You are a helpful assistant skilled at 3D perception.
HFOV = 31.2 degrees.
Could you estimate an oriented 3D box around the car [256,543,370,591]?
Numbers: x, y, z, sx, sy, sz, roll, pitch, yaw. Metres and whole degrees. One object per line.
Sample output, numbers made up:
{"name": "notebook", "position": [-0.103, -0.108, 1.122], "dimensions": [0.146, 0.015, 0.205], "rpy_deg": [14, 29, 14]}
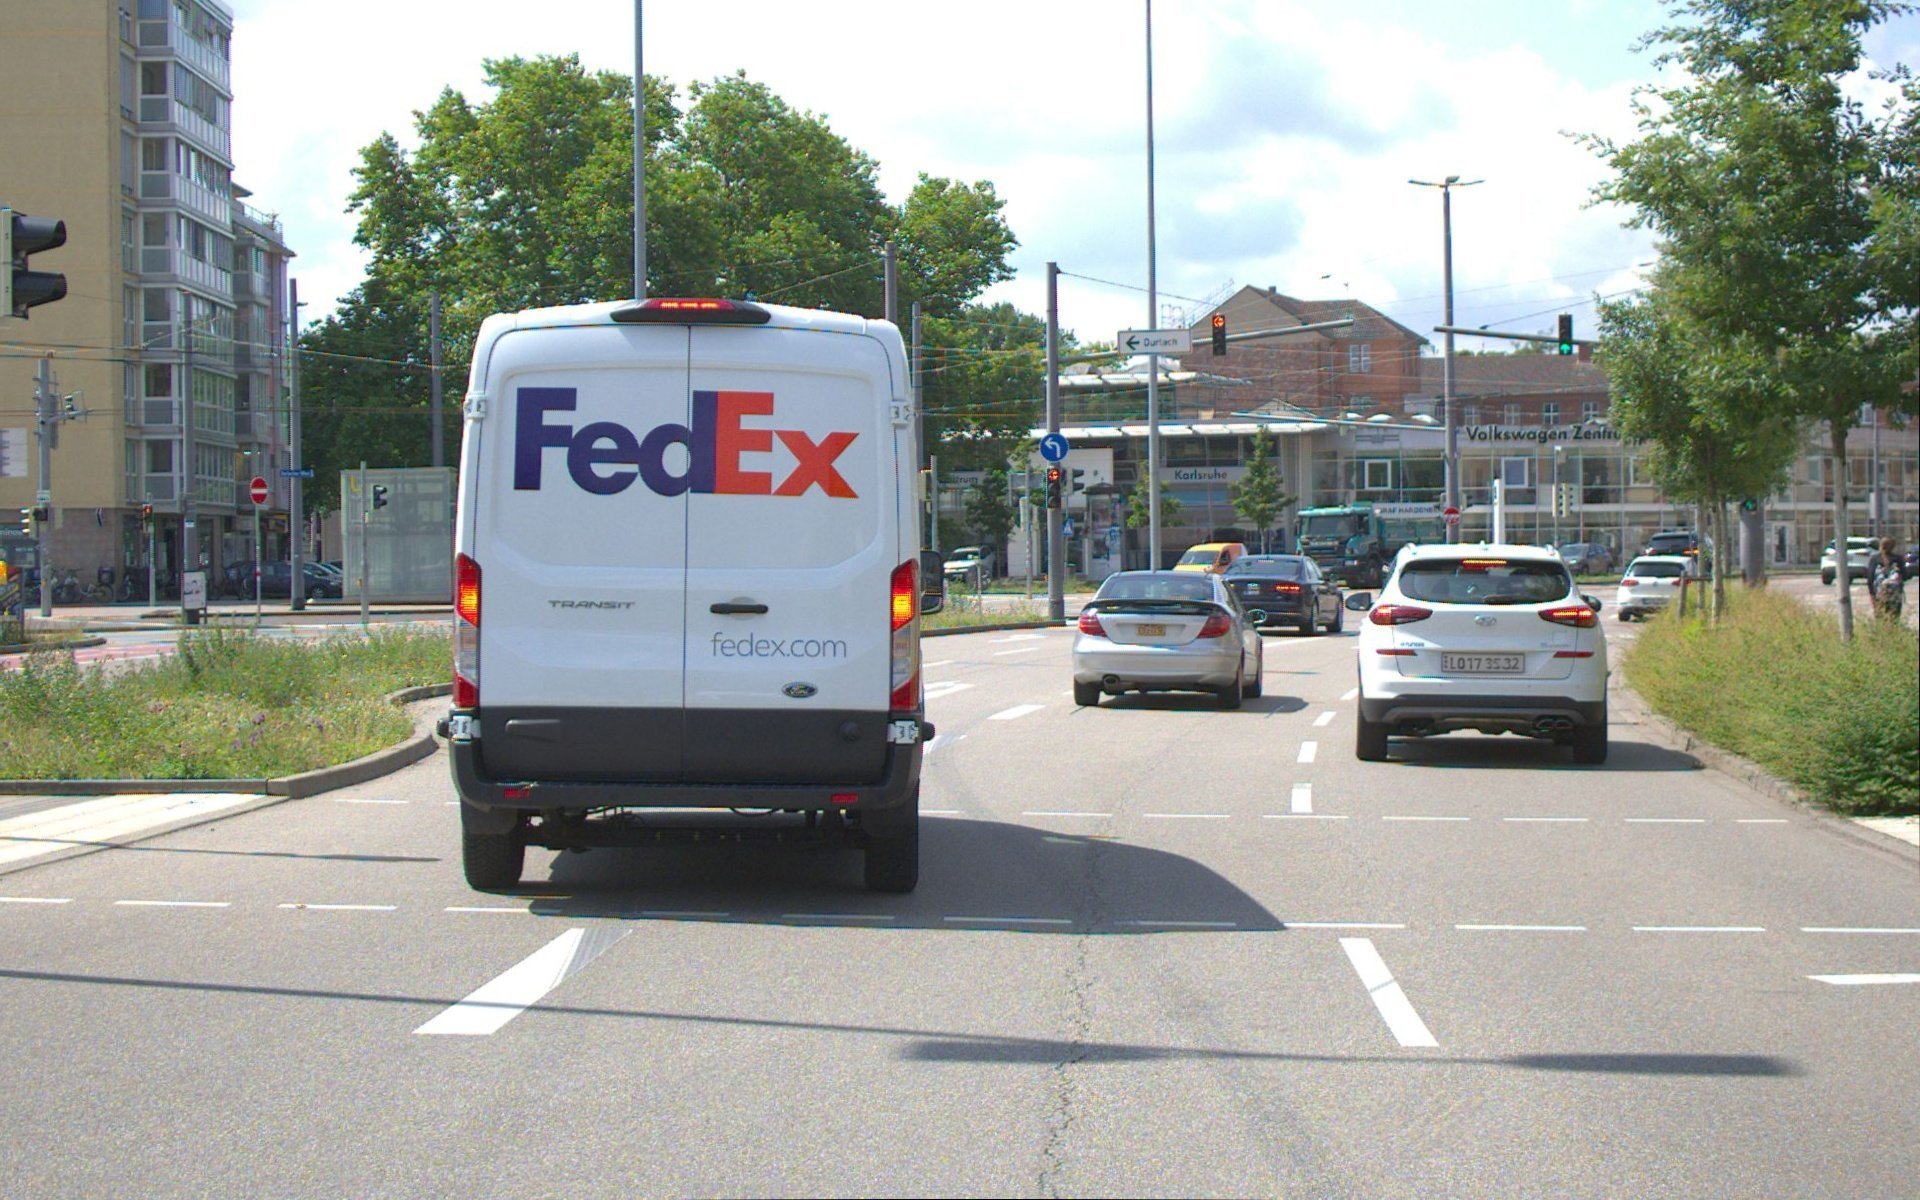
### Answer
{"name": "car", "position": [-25.324, -1.291, 134.721], "dimensions": [4.097, 1.852, 1.984], "rpy_deg": [1, 0, -1]}

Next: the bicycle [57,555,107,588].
{"name": "bicycle", "position": [-30.244, -0.980, 118.413], "dimensions": [2.133, 1.143, 0.532], "rpy_deg": [1, 0, 42]}

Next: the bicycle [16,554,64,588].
{"name": "bicycle", "position": [-31.557, -0.992, 117.915], "dimensions": [2.133, 1.143, 0.510], "rpy_deg": [1, 0, 41]}

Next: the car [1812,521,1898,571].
{"name": "car", "position": [30.744, -1.860, 118.022], "dimensions": [1.884, 1.635, 3.951], "rpy_deg": [0, 1, 30]}

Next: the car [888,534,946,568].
{"name": "car", "position": [-2.117, -2.402, 168.641], "dimensions": [1.994, 1.568, 4.176], "rpy_deg": [1, 0, 11]}

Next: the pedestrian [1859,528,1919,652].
{"name": "pedestrian", "position": [12.094, -0.133, 44.686], "dimensions": [0.756, 1.584, 0.761], "rpy_deg": [1, 0, 13]}

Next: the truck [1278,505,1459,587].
{"name": "truck", "position": [14.769, -1.988, 123.557], "dimensions": [2.891, 2.842, 8.776], "rpy_deg": [0, 1, 33]}

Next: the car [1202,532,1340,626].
{"name": "car", "position": [5.778, -0.412, 63.439], "dimensions": [1.929, 1.635, 4.790], "rpy_deg": [0, 1, 13]}

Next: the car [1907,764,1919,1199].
{"name": "car", "position": [2.841, 0.568, 4.659], "dimensions": [1.794, 1.717, 4.448], "rpy_deg": [1, 1, -1]}

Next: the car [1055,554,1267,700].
{"name": "car", "position": [2.162, 0.239, 35.965], "dimensions": [1.742, 1.387, 4.178], "rpy_deg": [0, 1, 10]}

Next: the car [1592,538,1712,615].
{"name": "car", "position": [15.488, -0.550, 76.830], "dimensions": [1.883, 1.635, 3.952], "rpy_deg": [0, 1, 23]}

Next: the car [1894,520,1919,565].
{"name": "car", "position": [35.894, -2.136, 127.296], "dimensions": [1.884, 1.635, 3.952], "rpy_deg": [0, 1, 25]}

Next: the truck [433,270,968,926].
{"name": "truck", "position": [-1.172, -0.036, 16.830], "dimensions": [2.137, 2.631, 5.918], "rpy_deg": [0, 1, -2]}

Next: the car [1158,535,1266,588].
{"name": "car", "position": [9.119, -1.410, 124.182], "dimensions": [1.721, 1.794, 4.731], "rpy_deg": [-1, 1, 34]}

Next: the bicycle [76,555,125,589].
{"name": "bicycle", "position": [-29.673, -0.975, 118.731], "dimensions": [2.133, 1.143, 0.510], "rpy_deg": [1, 0, 41]}

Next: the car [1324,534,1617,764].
{"name": "car", "position": [3.919, 0.315, 27.012], "dimensions": [1.881, 1.635, 4.232], "rpy_deg": [0, 1, 3]}

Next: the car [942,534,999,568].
{"name": "car", "position": [0.549, -2.372, 167.765], "dimensions": [1.994, 1.568, 4.176], "rpy_deg": [1, 0, 11]}

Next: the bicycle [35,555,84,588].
{"name": "bicycle", "position": [-30.950, -0.987, 118.180], "dimensions": [2.133, 1.143, 0.510], "rpy_deg": [1, 0, 41]}

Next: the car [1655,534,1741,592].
{"name": "car", "position": [21.790, -1.114, 101.464], "dimensions": [1.883, 1.635, 3.953], "rpy_deg": [0, 1, 21]}

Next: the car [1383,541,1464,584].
{"name": "car", "position": [16.233, -1.322, 120.257], "dimensions": [1.655, 1.464, 4.148], "rpy_deg": [0, 1, 24]}
